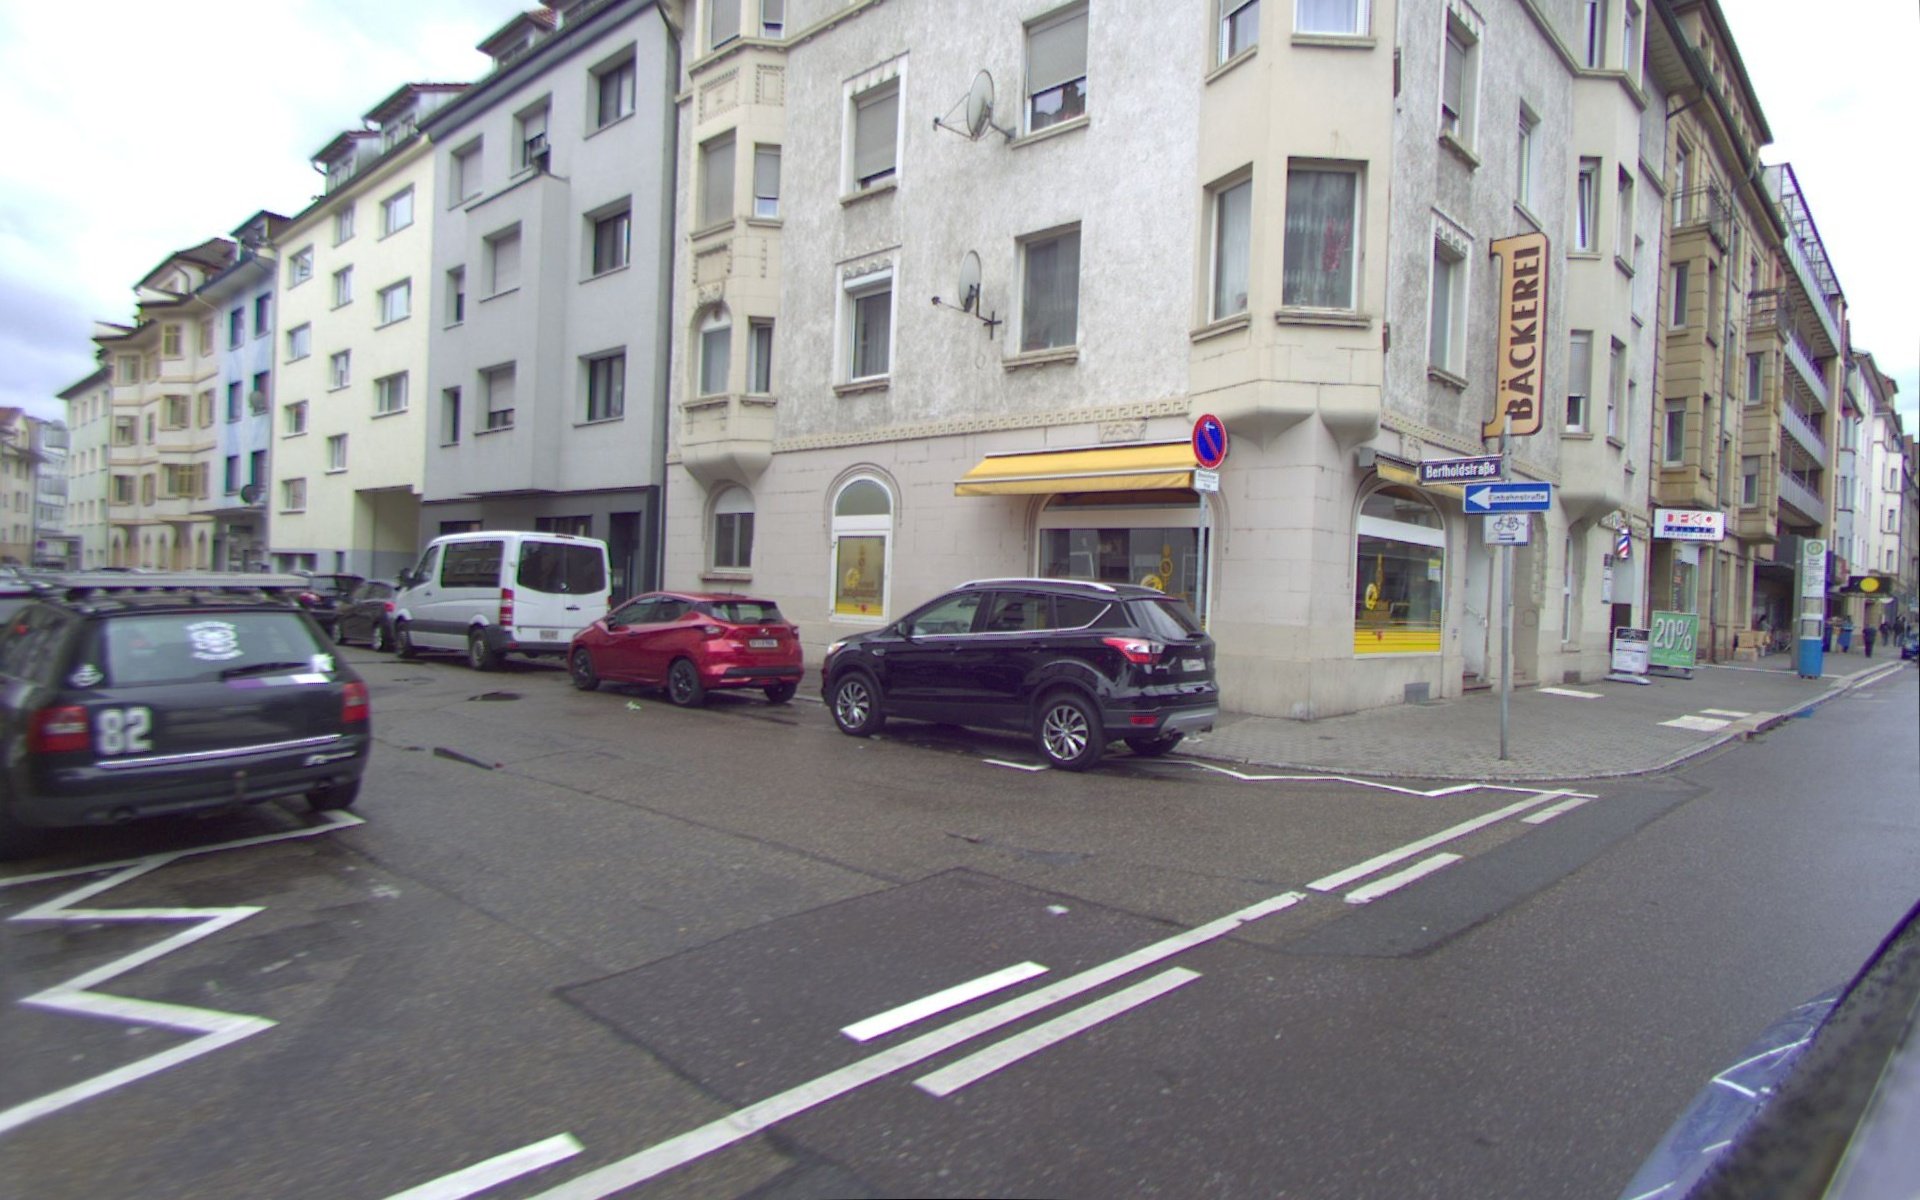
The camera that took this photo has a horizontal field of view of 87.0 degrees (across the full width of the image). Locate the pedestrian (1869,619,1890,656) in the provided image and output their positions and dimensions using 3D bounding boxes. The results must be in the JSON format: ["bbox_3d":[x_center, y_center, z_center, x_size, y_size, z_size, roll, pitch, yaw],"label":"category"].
[{"bbox_3d":[42.135,1.721,46.364,0.736,1.672,0.626,3,-1,-44],"label":"pedestrian"}]

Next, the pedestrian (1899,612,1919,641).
[{"bbox_3d":[60.348,1.693,64.025,0.840,1.770,1.061,4,1,8],"label":"pedestrian"}]

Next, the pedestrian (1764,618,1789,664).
[{"bbox_3d":[28.983,1.444,35.935,0.558,1.592,0.621,2,-1,30],"label":"pedestrian"}]

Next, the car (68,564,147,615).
[{"bbox_3d":[-35.768,-0.457,42.440,3.884,2.015,1.882,1,0,40],"label":"car"}]

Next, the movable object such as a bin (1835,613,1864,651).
[{"bbox_3d":[44.109,1.581,50.173,0.999,1.815,1.275,3,1,44],"label":"movable object such as a bin"}]

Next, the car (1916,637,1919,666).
[{"bbox_3d":[45.681,2.395,46.913,3.702,1.327,1.736,2,-2,-42],"label":"car"}]

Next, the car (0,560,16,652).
[{"bbox_3d":[-18.490,0.048,18.107,3.884,1.599,1.882,2,0,40],"label":"car"}]

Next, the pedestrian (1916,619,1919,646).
[{"bbox_3d":[61.324,2.107,64.163,0.684,1.686,0.793,3,1,-29],"label":"pedestrian"}]

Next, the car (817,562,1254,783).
[{"bbox_3d":[0.642,0.560,10.356,4.132,1.794,1.846,2,0,40],"label":"car"}]

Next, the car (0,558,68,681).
[{"bbox_3d":[-14.119,0.209,14.163,3.884,1.599,1.882,2,0,40],"label":"car"}]

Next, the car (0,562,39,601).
[{"bbox_3d":[-54.197,-1.023,57.716,3.982,2.040,1.970,-1,-2,41],"label":"car"}]

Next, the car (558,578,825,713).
[{"bbox_3d":[-3.791,0.534,14.028,3.681,1.509,1.754,3,1,40],"label":"car"}]

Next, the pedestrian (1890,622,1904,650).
[{"bbox_3d":[60.237,2.305,65.051,0.686,1.770,0.610,3,0,-44],"label":"pedestrian"}]

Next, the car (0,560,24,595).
[{"bbox_3d":[-59.212,-1.350,62.257,3.982,2.040,1.970,-1,-2,41],"label":"car"}]

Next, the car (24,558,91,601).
[{"bbox_3d":[-46.098,-1.055,51.671,3.983,2.039,1.970,2,0,41],"label":"car"}]

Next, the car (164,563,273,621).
[{"bbox_3d":[-23.507,-0.260,32.042,3.884,1.712,1.882,2,0,40],"label":"car"}]

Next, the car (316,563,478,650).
[{"bbox_3d":[-12.139,0.108,21.762,3.541,1.712,1.882,2,0,40],"label":"car"}]

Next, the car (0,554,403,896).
[{"bbox_3d":[-5.546,0.529,6.852,4.102,1.627,1.780,2,2,40],"label":"car"}]

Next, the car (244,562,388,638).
[{"bbox_3d":[-15.907,-0.029,24.936,3.884,1.712,1.882,2,0,40],"label":"car"}]

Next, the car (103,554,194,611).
[{"bbox_3d":[-30.157,-0.648,37.569,3.884,2.015,1.882,1,0,40],"label":"car"}]

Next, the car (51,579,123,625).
[{"bbox_3d":[-39.977,0.079,46.338,3.884,2.015,1.882,1,0,40],"label":"car"}]

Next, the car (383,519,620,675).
[{"bbox_3d":[-8.282,-0.088,18.080,4.716,2.435,1.986,1,0,40],"label":"car"}]

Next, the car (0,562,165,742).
[{"bbox_3d":[-9.897,0.404,10.366,4.612,1.552,1.845,2,0,40],"label":"car"}]
